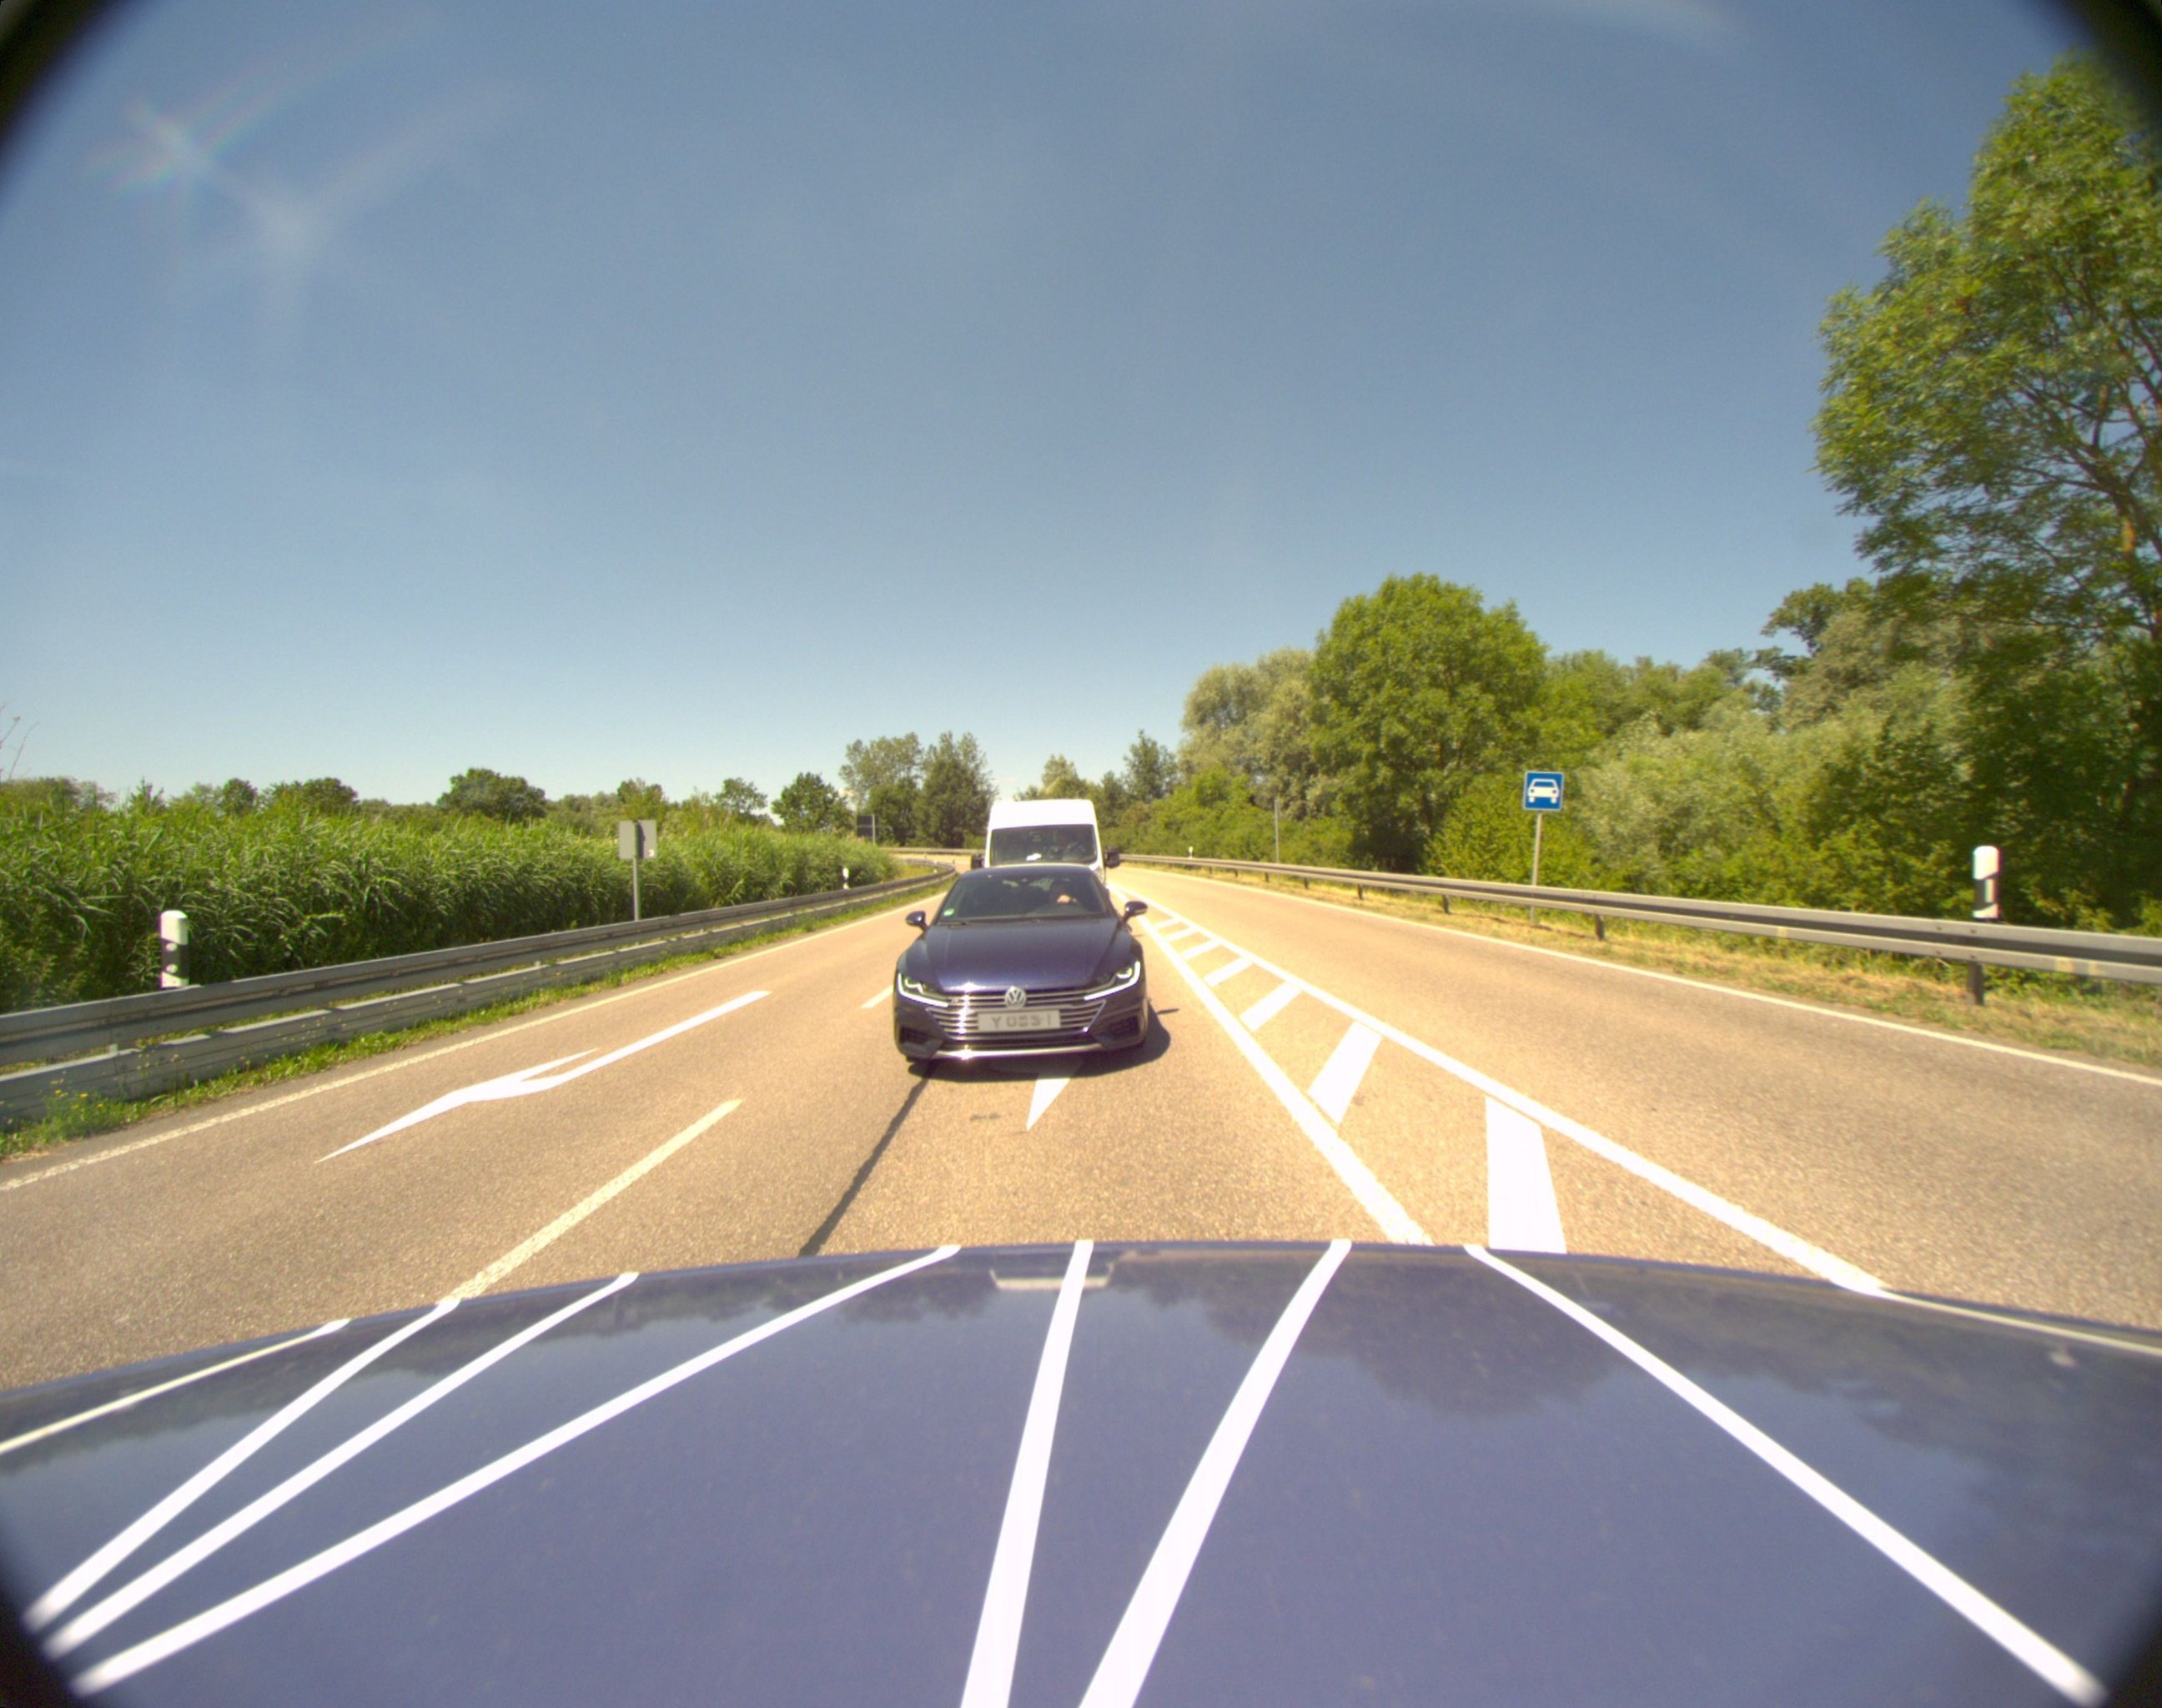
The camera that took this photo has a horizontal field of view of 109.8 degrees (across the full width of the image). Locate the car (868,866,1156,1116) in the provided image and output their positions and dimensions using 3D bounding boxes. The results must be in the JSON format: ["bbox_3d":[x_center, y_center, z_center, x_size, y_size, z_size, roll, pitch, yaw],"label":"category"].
[{"bbox_3d":[-0.411,0.896,6.789,1.761,1.401,3.999,-2,1,1],"label":"car"}]

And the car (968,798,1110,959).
[{"bbox_3d":[-0.603,0.341,14.468,2.059,2.376,5.826,-2,1,1],"label":"car"}]
